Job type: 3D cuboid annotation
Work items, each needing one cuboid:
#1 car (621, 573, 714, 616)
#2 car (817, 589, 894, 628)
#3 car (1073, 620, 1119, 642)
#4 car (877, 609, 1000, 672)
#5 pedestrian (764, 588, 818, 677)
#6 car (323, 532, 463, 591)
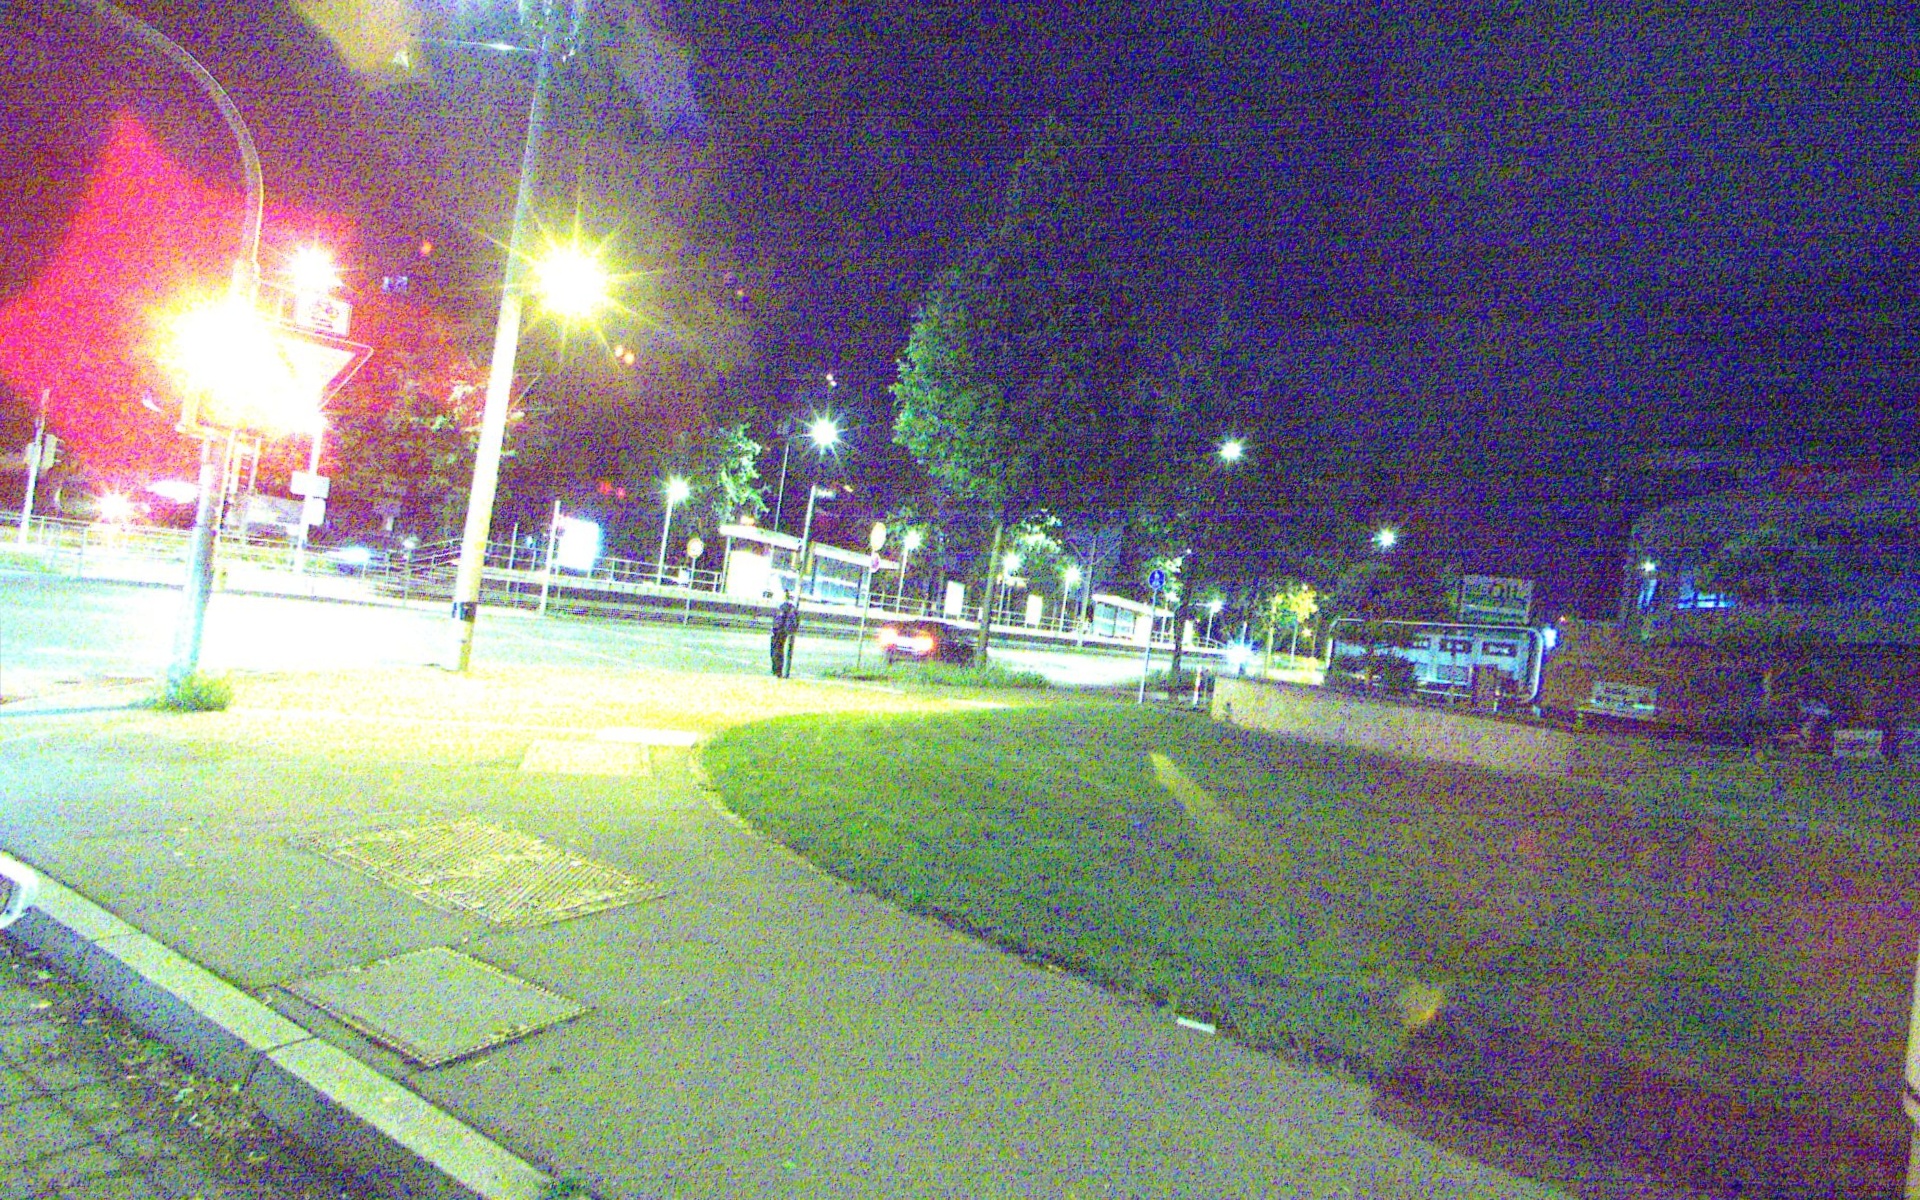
[{"bbox_3d":[-14.829,-0.233,51.167,1.776,1.603,4.237,5,-3,36],"label":"car"},{"bbox_3d":[-6.033,0.523,58.405,1.816,1.603,4.577,8,-1,33],"label":"car"},{"bbox_3d":[11.143,2.547,82.402,1.822,1.437,4.429,6,-1,35],"label":"car"},{"bbox_3d":[-0.576,1.249,29.987,1.631,1.492,3.880,10,1,32],"label":"car"},{"bbox_3d":[-3.294,0.629,19.613,0.867,1.677,0.835,2,1,-18],"label":"pedestrian"},{"bbox_3d":[-20.598,-1.369,36.671,1.777,1.604,3.985,7,0,38],"label":"car"}]
